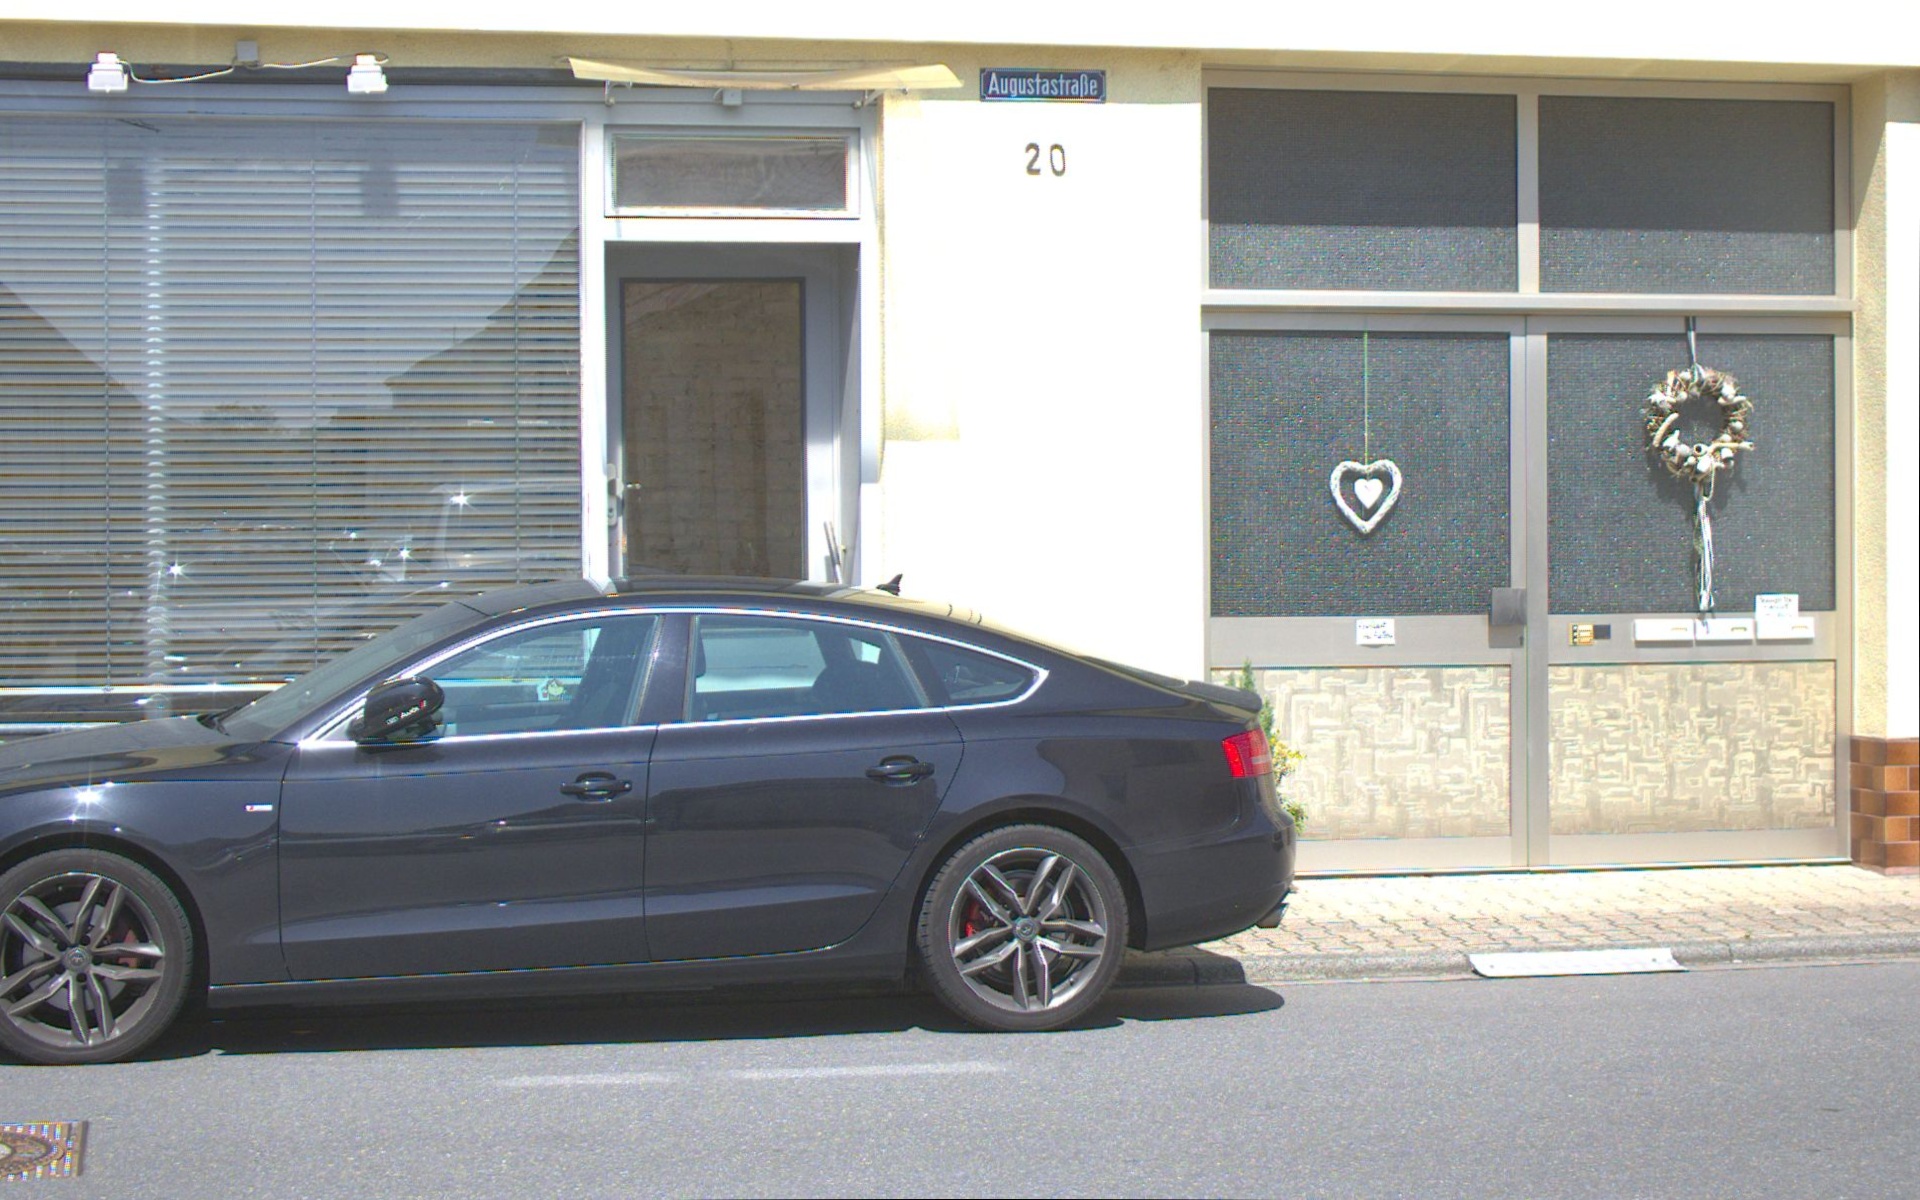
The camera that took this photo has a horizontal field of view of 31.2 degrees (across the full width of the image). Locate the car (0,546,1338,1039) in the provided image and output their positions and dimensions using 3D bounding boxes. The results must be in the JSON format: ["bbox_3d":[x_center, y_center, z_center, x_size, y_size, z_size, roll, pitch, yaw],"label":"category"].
[{"bbox_3d":[-1.304,0.576,11.009,4.615,1.389,1.928,0,-2,-13],"label":"car"}]
